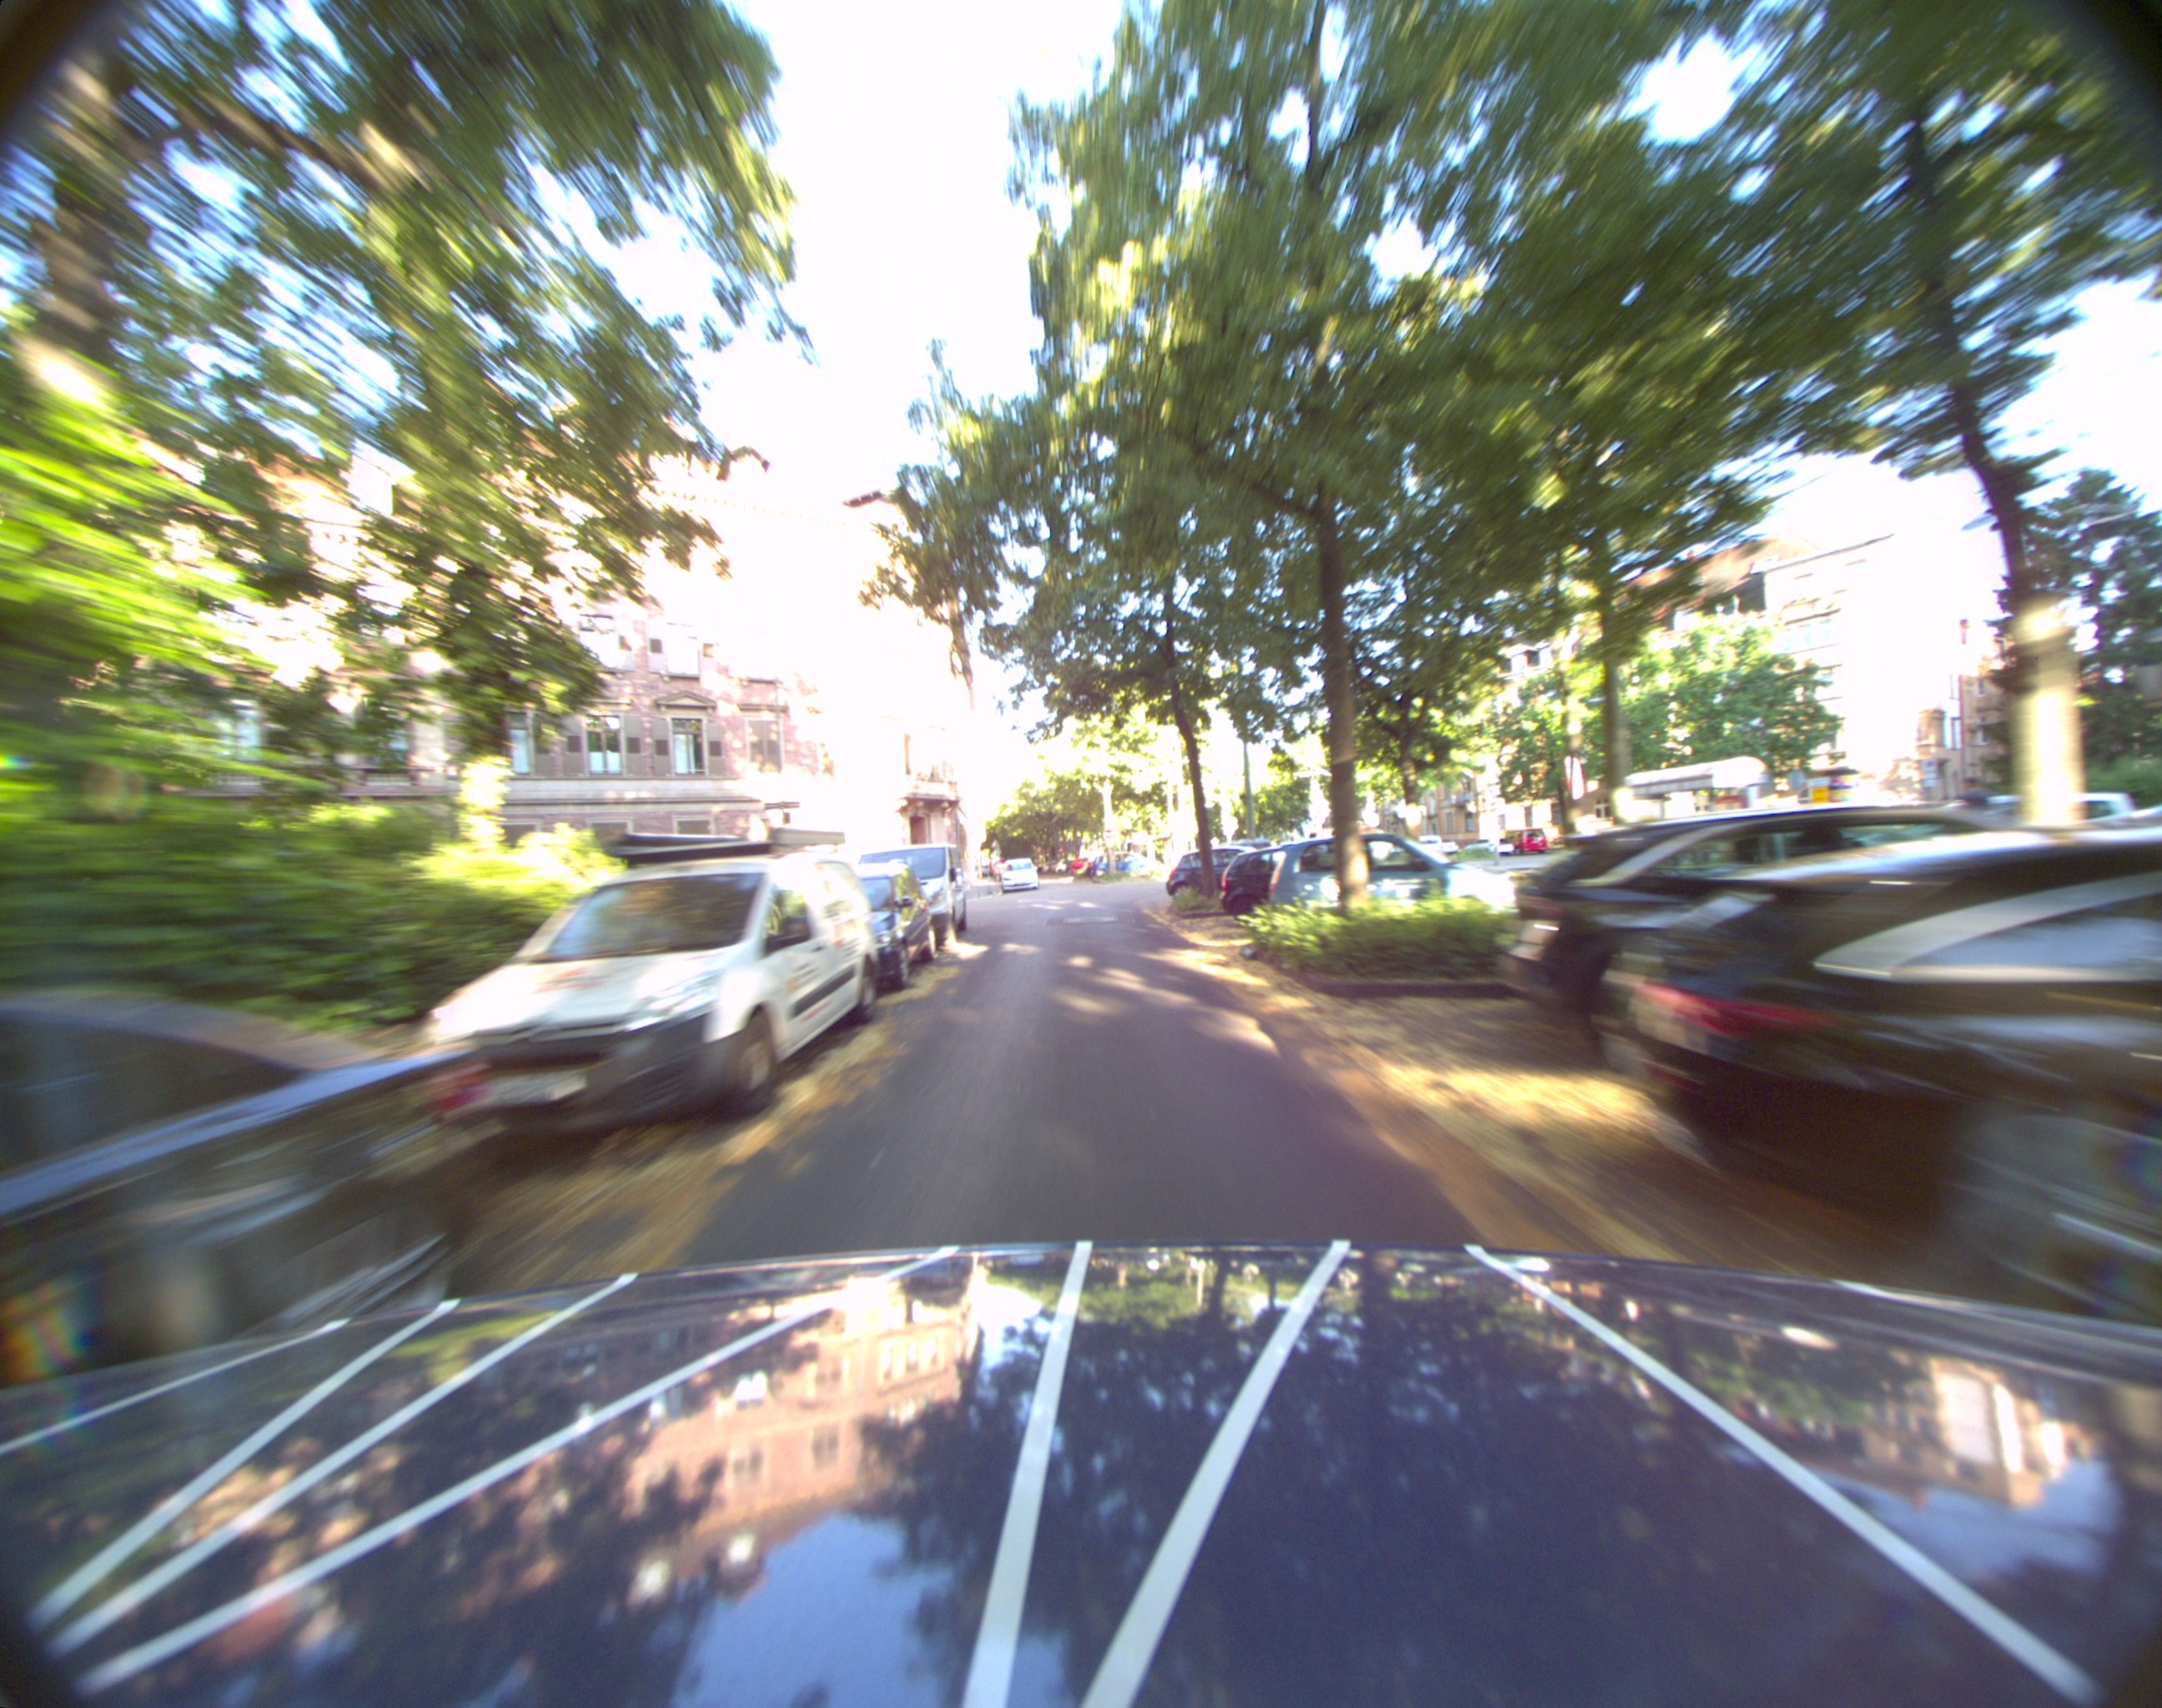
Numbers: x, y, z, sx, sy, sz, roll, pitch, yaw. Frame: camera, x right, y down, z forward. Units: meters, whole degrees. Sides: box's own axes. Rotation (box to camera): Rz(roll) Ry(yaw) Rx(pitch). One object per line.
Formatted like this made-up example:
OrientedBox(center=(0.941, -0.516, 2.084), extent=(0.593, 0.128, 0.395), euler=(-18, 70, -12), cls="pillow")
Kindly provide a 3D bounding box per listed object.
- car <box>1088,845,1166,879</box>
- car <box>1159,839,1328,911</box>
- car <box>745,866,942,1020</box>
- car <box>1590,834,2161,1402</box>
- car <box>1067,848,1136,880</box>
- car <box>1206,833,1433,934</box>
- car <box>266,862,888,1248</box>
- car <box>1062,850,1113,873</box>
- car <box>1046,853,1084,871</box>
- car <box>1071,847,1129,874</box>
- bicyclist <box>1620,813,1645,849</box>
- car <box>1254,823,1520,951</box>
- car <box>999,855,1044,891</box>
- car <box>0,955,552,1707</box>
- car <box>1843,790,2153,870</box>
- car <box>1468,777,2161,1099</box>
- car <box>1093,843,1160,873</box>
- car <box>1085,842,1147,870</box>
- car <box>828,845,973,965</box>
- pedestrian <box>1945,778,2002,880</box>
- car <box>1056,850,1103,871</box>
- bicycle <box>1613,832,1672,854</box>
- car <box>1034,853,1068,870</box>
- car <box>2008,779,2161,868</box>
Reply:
OrientedBox(center=(2.905, 0.530, 48.058), extent=(4.434, 1.613, 1.636), euler=(-6, 1, 22), cls="car")
OrientedBox(center=(4.225, 0.560, 19.863), extent=(3.889, 1.440, 1.637), euler=(-6, 1, 27), cls="car")
OrientedBox(center=(-3.069, 1.046, 10.641), extent=(1.571, 1.606, 3.894), euler=(-4, 0, -2), cls="car")
OrientedBox(center=(4.260, 0.625, 2.254), extent=(4.304, 1.396, 1.747), euler=(-6, -1, 28), cls="car")
OrientedBox(center=(1.403, 0.683, 51.609), extent=(4.235, 1.613, 1.636), euler=(-6, 1, 22), cls="car")
OrientedBox(center=(4.438, 0.565, 14.186), extent=(3.687, 1.440, 1.637), euler=(-6, 1, 27), cls="car")
OrientedBox(center=(-2.979, 0.990, 5.854), extent=(1.791, 1.698, 4.376), euler=(-4, 0, 0), cls="car")
OrientedBox(center=(0.559, 0.686, 70.063), extent=(4.235, 1.658, 1.636), euler=(-6, 1, 22), cls="car")
OrientedBox(center=(-1.873, 0.926, 89.651), extent=(4.241, 1.658, 1.634), euler=(-7, 1, -1), cls="car")
OrientedBox(center=(1.549, 0.524, 61.832), extent=(4.235, 1.658, 1.636), euler=(-6, 1, 22), cls="car")
OrientedBox(center=(24.868, -1.023, 34.252), extent=(0.680, 1.581, 0.552), euler=(-3, 1, -5), cls="bicyclist")
OrientedBox(center=(4.529, 0.500, 11.326), extent=(3.346, 1.558, 1.574), euler=(-6, -1, 29), cls="car")
OrientedBox(center=(-3.222, 0.970, 40.408), extent=(1.942, 1.613, 4.240), euler=(-7, 1, -8), cls="car")
OrientedBox(center=(-2.989, 1.148, 0.861), extent=(1.676, 1.382, 4.266), euler=(-4, 0, 1), cls="car")
OrientedBox(center=(20.628, -0.497, 17.420), extent=(4.139, 1.612, 1.891), euler=(-1, 2, 31), cls="car")
OrientedBox(center=(4.821, 0.475, 4.875), extent=(3.991, 1.503, 1.963), euler=(-6, -1, 25), cls="car")
OrientedBox(center=(3.168, 0.298, 53.281), extent=(4.235, 1.613, 1.636), euler=(-6, 1, 22), cls="car")
OrientedBox(center=(2.646, 0.146, 57.560), extent=(4.235, 1.613, 1.636), euler=(-6, 1, 22), cls="car")
OrientedBox(center=(-3.447, 0.866, 15.646), extent=(1.971, 1.924, 5.453), euler=(-4, 0, -4), cls="car")
OrientedBox(center=(18.198, -0.498, 15.505), extent=(0.536, 2.002, 0.644), euler=(-3, 1, 33), cls="pedestrian")
OrientedBox(center=(-0.151, 0.630, 77.027), extent=(4.235, 1.658, 1.636), euler=(-6, 1, 22), cls="car")
OrientedBox(center=(25.303, -0.480, 34.265), extent=(2.266, 0.853, 0.642), euler=(-3, 1, -6), cls="bicycle")
OrientedBox(center=(-4.015, 0.986, 101.824), extent=(4.241, 1.658, 1.634), euler=(-7, 1, -1), cls="car")
OrientedBox(center=(20.833, -0.601, 14.158), extent=(4.139, 1.612, 1.891), euler=(-1, 2, 33), cls="car")
